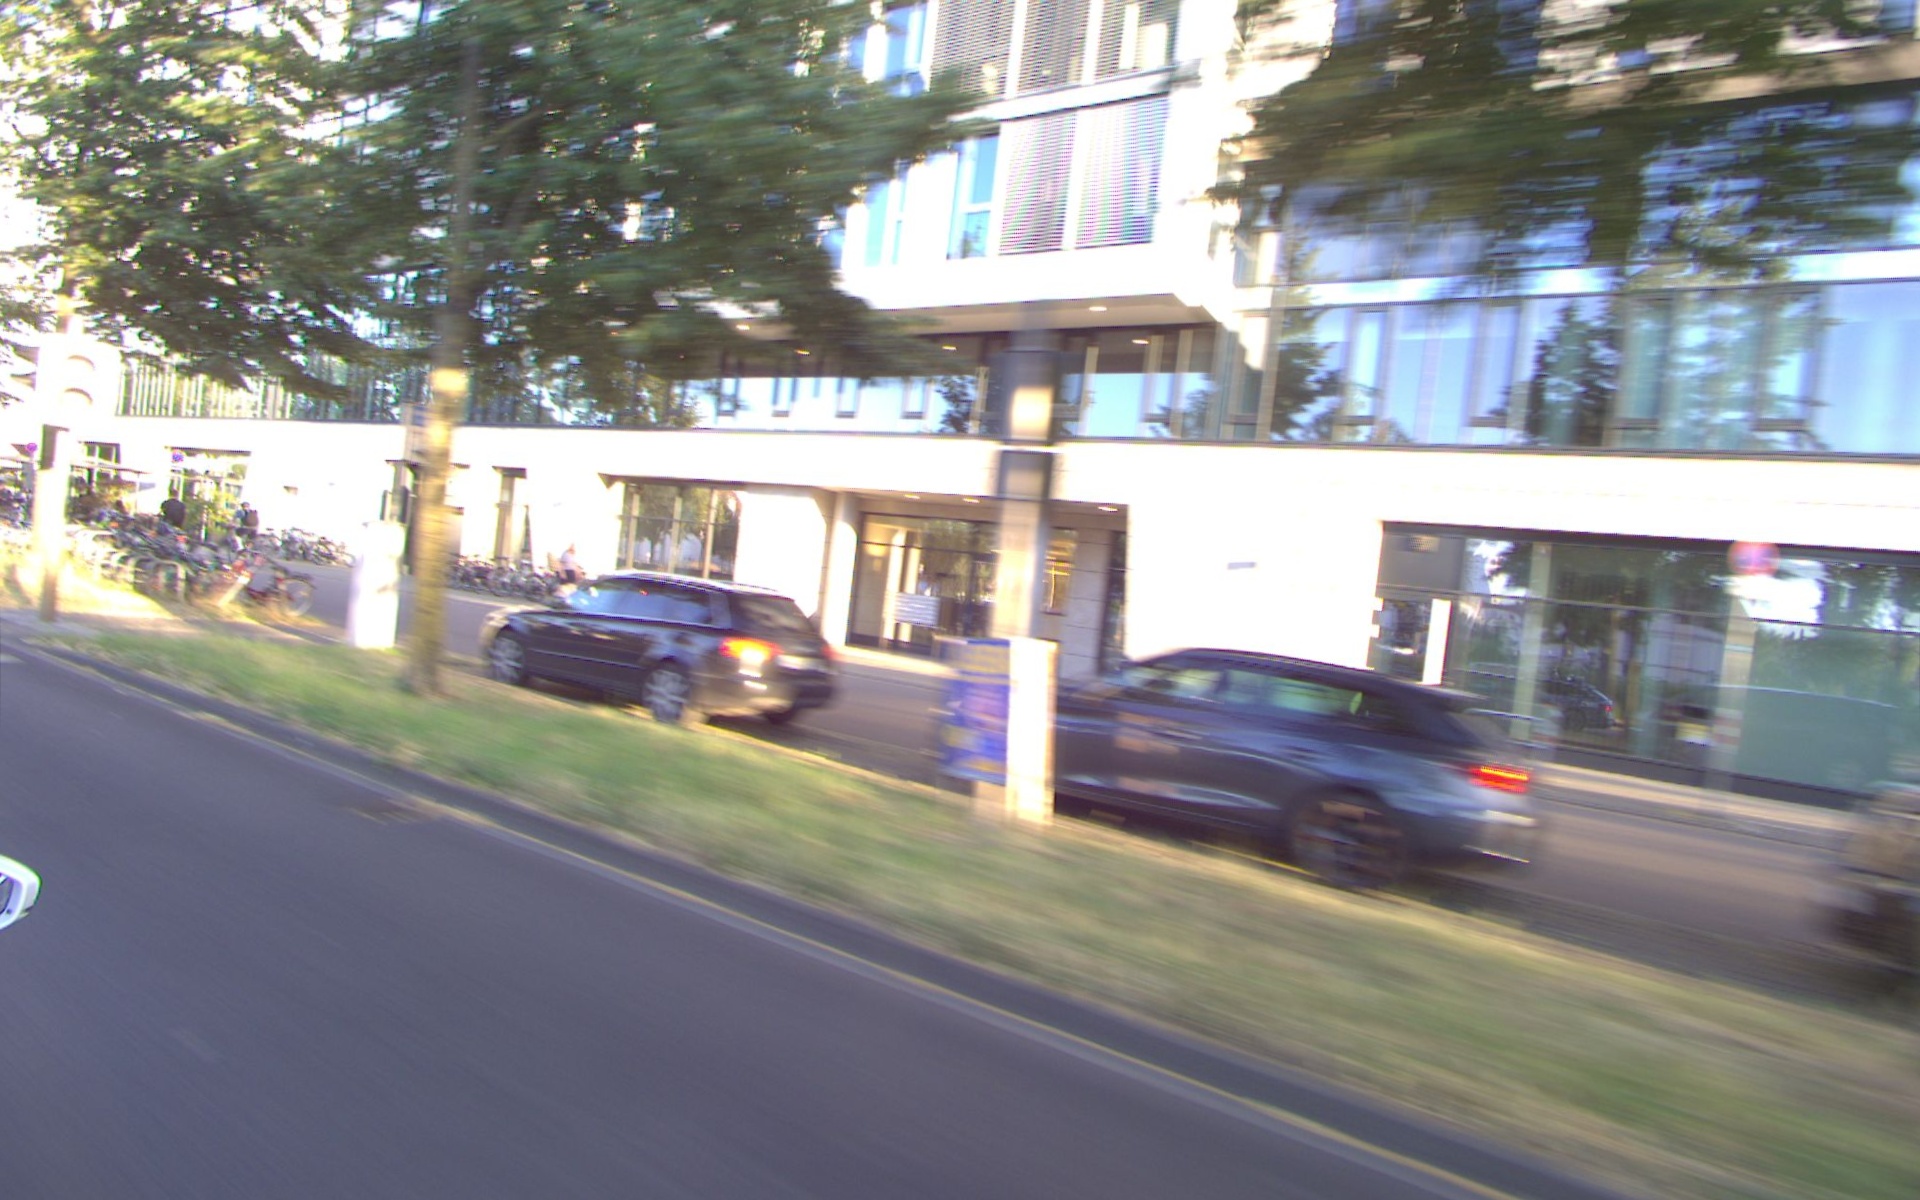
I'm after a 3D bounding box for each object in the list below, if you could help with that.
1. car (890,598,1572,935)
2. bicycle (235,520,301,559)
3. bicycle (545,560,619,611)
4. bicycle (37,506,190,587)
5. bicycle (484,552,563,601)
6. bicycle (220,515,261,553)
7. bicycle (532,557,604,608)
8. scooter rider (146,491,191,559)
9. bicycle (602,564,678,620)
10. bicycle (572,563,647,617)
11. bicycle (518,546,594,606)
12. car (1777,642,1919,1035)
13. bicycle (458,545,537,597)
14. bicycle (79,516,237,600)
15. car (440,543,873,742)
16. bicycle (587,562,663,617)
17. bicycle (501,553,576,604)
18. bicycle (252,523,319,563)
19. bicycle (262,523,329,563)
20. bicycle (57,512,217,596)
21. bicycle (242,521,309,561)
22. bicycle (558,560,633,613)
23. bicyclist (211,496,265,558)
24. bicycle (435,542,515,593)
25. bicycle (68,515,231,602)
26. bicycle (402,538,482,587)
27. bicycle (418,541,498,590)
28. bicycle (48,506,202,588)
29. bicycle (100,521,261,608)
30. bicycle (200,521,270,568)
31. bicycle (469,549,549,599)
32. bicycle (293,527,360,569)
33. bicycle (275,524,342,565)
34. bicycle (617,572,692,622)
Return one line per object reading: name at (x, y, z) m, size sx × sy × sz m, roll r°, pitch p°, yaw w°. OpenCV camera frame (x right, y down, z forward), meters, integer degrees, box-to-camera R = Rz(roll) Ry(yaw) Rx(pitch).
car at (1.927, 1.025, 7.782) m, size 4.586 × 1.490 × 1.812 m, roll 7°, pitch 0°, yaw 30°
bicycle at (-24.070, -2.089, 35.030) m, size 0.500 × 1.118 × 1.788 m, roll 7°, pitch 0°, yaw 27°
bicycle at (-9.766, -0.358, 26.062) m, size 0.494 × 1.127 × 1.834 m, roll 7°, pitch 0°, yaw 28°
bicycle at (-14.713, -0.904, 17.555) m, size 0.401 × 1.065 × 1.950 m, roll 8°, pitch -3°, yaw 24°
bicycle at (-11.706, -0.620, 27.056) m, size 0.494 × 1.113 × 1.986 m, roll 7°, pitch 0°, yaw 28°
bicycle at (-26.908, -2.471, 37.626) m, size 2.227 × 1.223 × 0.469 m, roll 7°, pitch 1°, yaw 36°
bicycle at (-10.208, -0.437, 26.247) m, size 0.366 × 1.138 × 1.834 m, roll 7°, pitch 0°, yaw 28°
scooter rider at (-20.678, -1.967, 26.291) m, size 0.818 × 1.659 × 0.526 m, roll 7°, pitch 1°, yaw 29°
bicycle at (-7.885, -0.173, 24.840) m, size 0.438 × 1.191 × 1.832 m, roll 7°, pitch 0°, yaw 32°
bicycle at (-8.818, -0.238, 25.366) m, size 0.494 × 1.191 × 1.834 m, roll 7°, pitch 0°, yaw 28°
bicycle at (-10.622, -0.620, 26.483) m, size 0.494 × 1.374 × 1.834 m, roll 7°, pitch 0°, yaw 28°
car at (6.992, 1.447, 4.620) m, size 4.586 × 1.875 × 1.996 m, roll 7°, pitch 0°, yaw 31°
bicycle at (-12.728, -0.785, 27.751) m, size 0.494 × 1.197 × 1.986 m, roll 7°, pitch 0°, yaw 28°
bicycle at (-13.354, -0.671, 16.832) m, size 0.535 × 1.065 × 1.951 m, roll 8°, pitch -3°, yaw 21°
car at (-3.375, 0.367, 10.863) m, size 4.570 × 1.429 × 1.870 m, roll 7°, pitch 0°, yaw 33°
bicycle at (-8.326, -0.235, 25.069) m, size 0.438 × 1.191 × 1.832 m, roll 7°, pitch 0°, yaw 32°
bicycle at (-11.151, -0.553, 26.678) m, size 0.494 × 1.135 × 1.834 m, roll 7°, pitch 0°, yaw 28°
bicycle at (-22.965, -1.937, 34.282) m, size 0.500 × 1.118 × 1.788 m, roll 7°, pitch 0°, yaw 27°
bicycle at (-22.396, -1.904, 33.947) m, size 0.500 × 1.118 × 1.788 m, roll 7°, pitch 0°, yaw 27°
bicycle at (-13.923, -0.749, 17.097) m, size 0.535 × 1.065 × 1.950 m, roll 8°, pitch -3°, yaw 24°
bicycle at (-23.614, -2.026, 34.735) m, size 0.500 × 1.118 × 1.788 m, roll 7°, pitch 0°, yaw 27°
bicycle at (-9.287, -0.325, 25.678) m, size 0.494 × 1.191 × 1.834 m, roll 7°, pitch 0°, yaw 28°
bicyclist at (-20.489, -2.074, 28.555) m, size 0.975 × 1.586 × 0.773 m, roll 7°, pitch 1°, yaw 29°
bicycle at (-13.492, -0.888, 28.042) m, size 0.494 × 1.182 × 1.986 m, roll 7°, pitch 0°, yaw 28°
bicycle at (-12.922, -0.624, 16.126) m, size 0.535 × 1.065 × 1.952 m, roll 8°, pitch -3°, yaw 17°
bicycle at (-14.703, -1.048, 28.596) m, size 0.494 × 1.156 × 1.986 m, roll 7°, pitch 0°, yaw 28°
bicycle at (-14.126, -0.964, 28.371) m, size 0.494 × 1.156 × 1.986 m, roll 7°, pitch 0°, yaw 28°
bicycle at (-14.336, -0.883, 17.352) m, size 0.401 × 1.065 × 1.950 m, roll 8°, pitch -3°, yaw 24°
bicycle at (-12.343, -0.536, 16.019) m, size 0.535 × 1.065 × 1.952 m, roll 8°, pitch -3°, yaw 17°
bicycle at (-20.630, -1.588, 28.624) m, size 2.028 × 1.093 × 0.773 m, roll 7°, pitch 1°, yaw 30°
bicycle at (-12.262, -0.694, 27.406) m, size 0.494 × 1.155 × 1.986 m, roll 7°, pitch 0°, yaw 28°
bicycle at (-20.714, -1.691, 32.929) m, size 0.500 × 1.118 × 1.788 m, roll 7°, pitch 0°, yaw 27°
bicycle at (-21.823, -1.843, 33.723) m, size 0.500 × 1.118 × 1.788 m, roll 7°, pitch 0°, yaw 27°
bicycle at (-7.448, -0.058, 24.604) m, size 0.438 × 1.060 × 1.832 m, roll 7°, pitch 0°, yaw 32°
